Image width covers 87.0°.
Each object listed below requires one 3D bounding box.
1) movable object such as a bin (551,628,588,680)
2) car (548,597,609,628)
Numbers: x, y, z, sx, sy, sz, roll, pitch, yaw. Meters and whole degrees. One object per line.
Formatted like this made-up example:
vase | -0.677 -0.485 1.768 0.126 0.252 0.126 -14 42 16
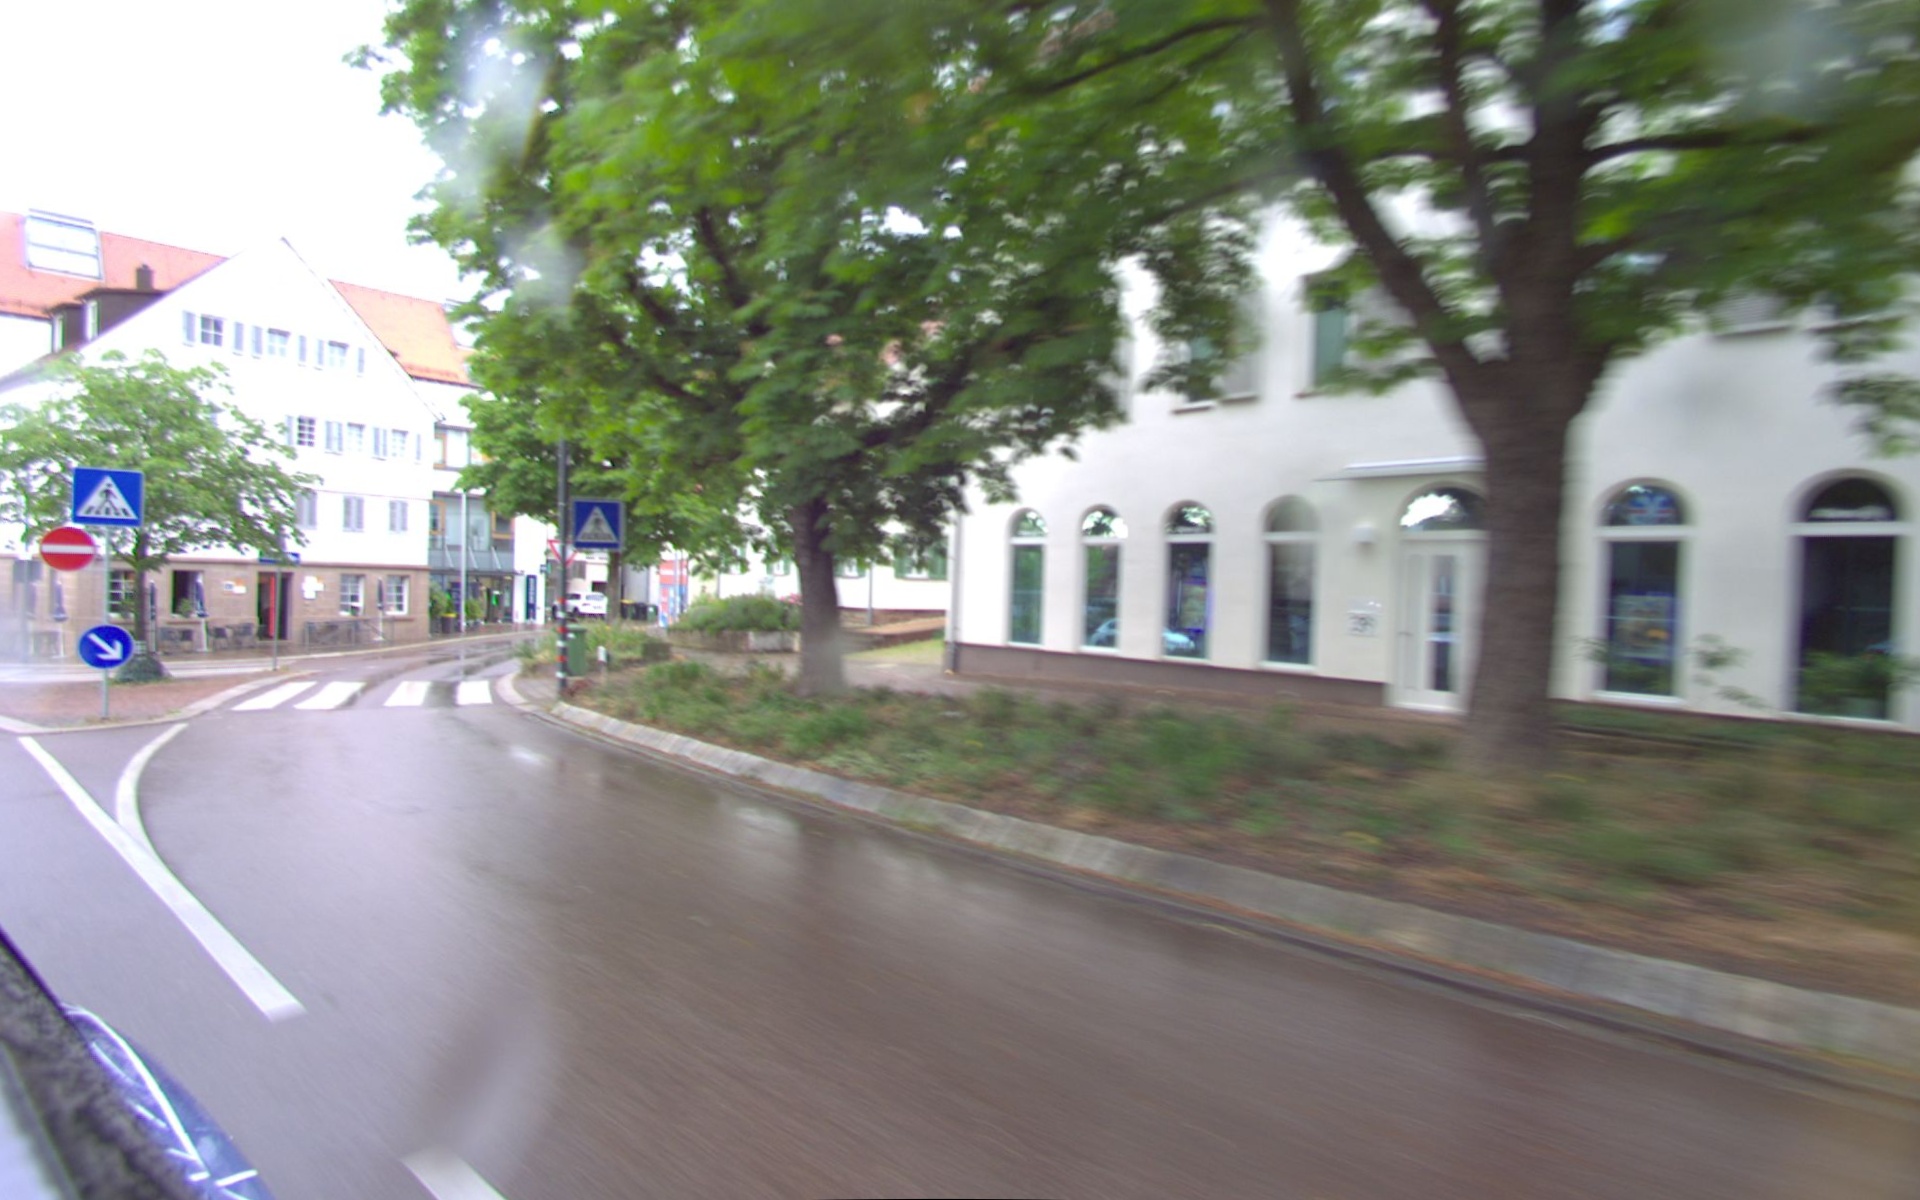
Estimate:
movable object such as a bin | -8.258 1.134 21.385 0.625 1.067 0.700 2 -1 -27
car | -21.392 0.665 56.656 1.803 1.634 3.892 2 -1 -44
